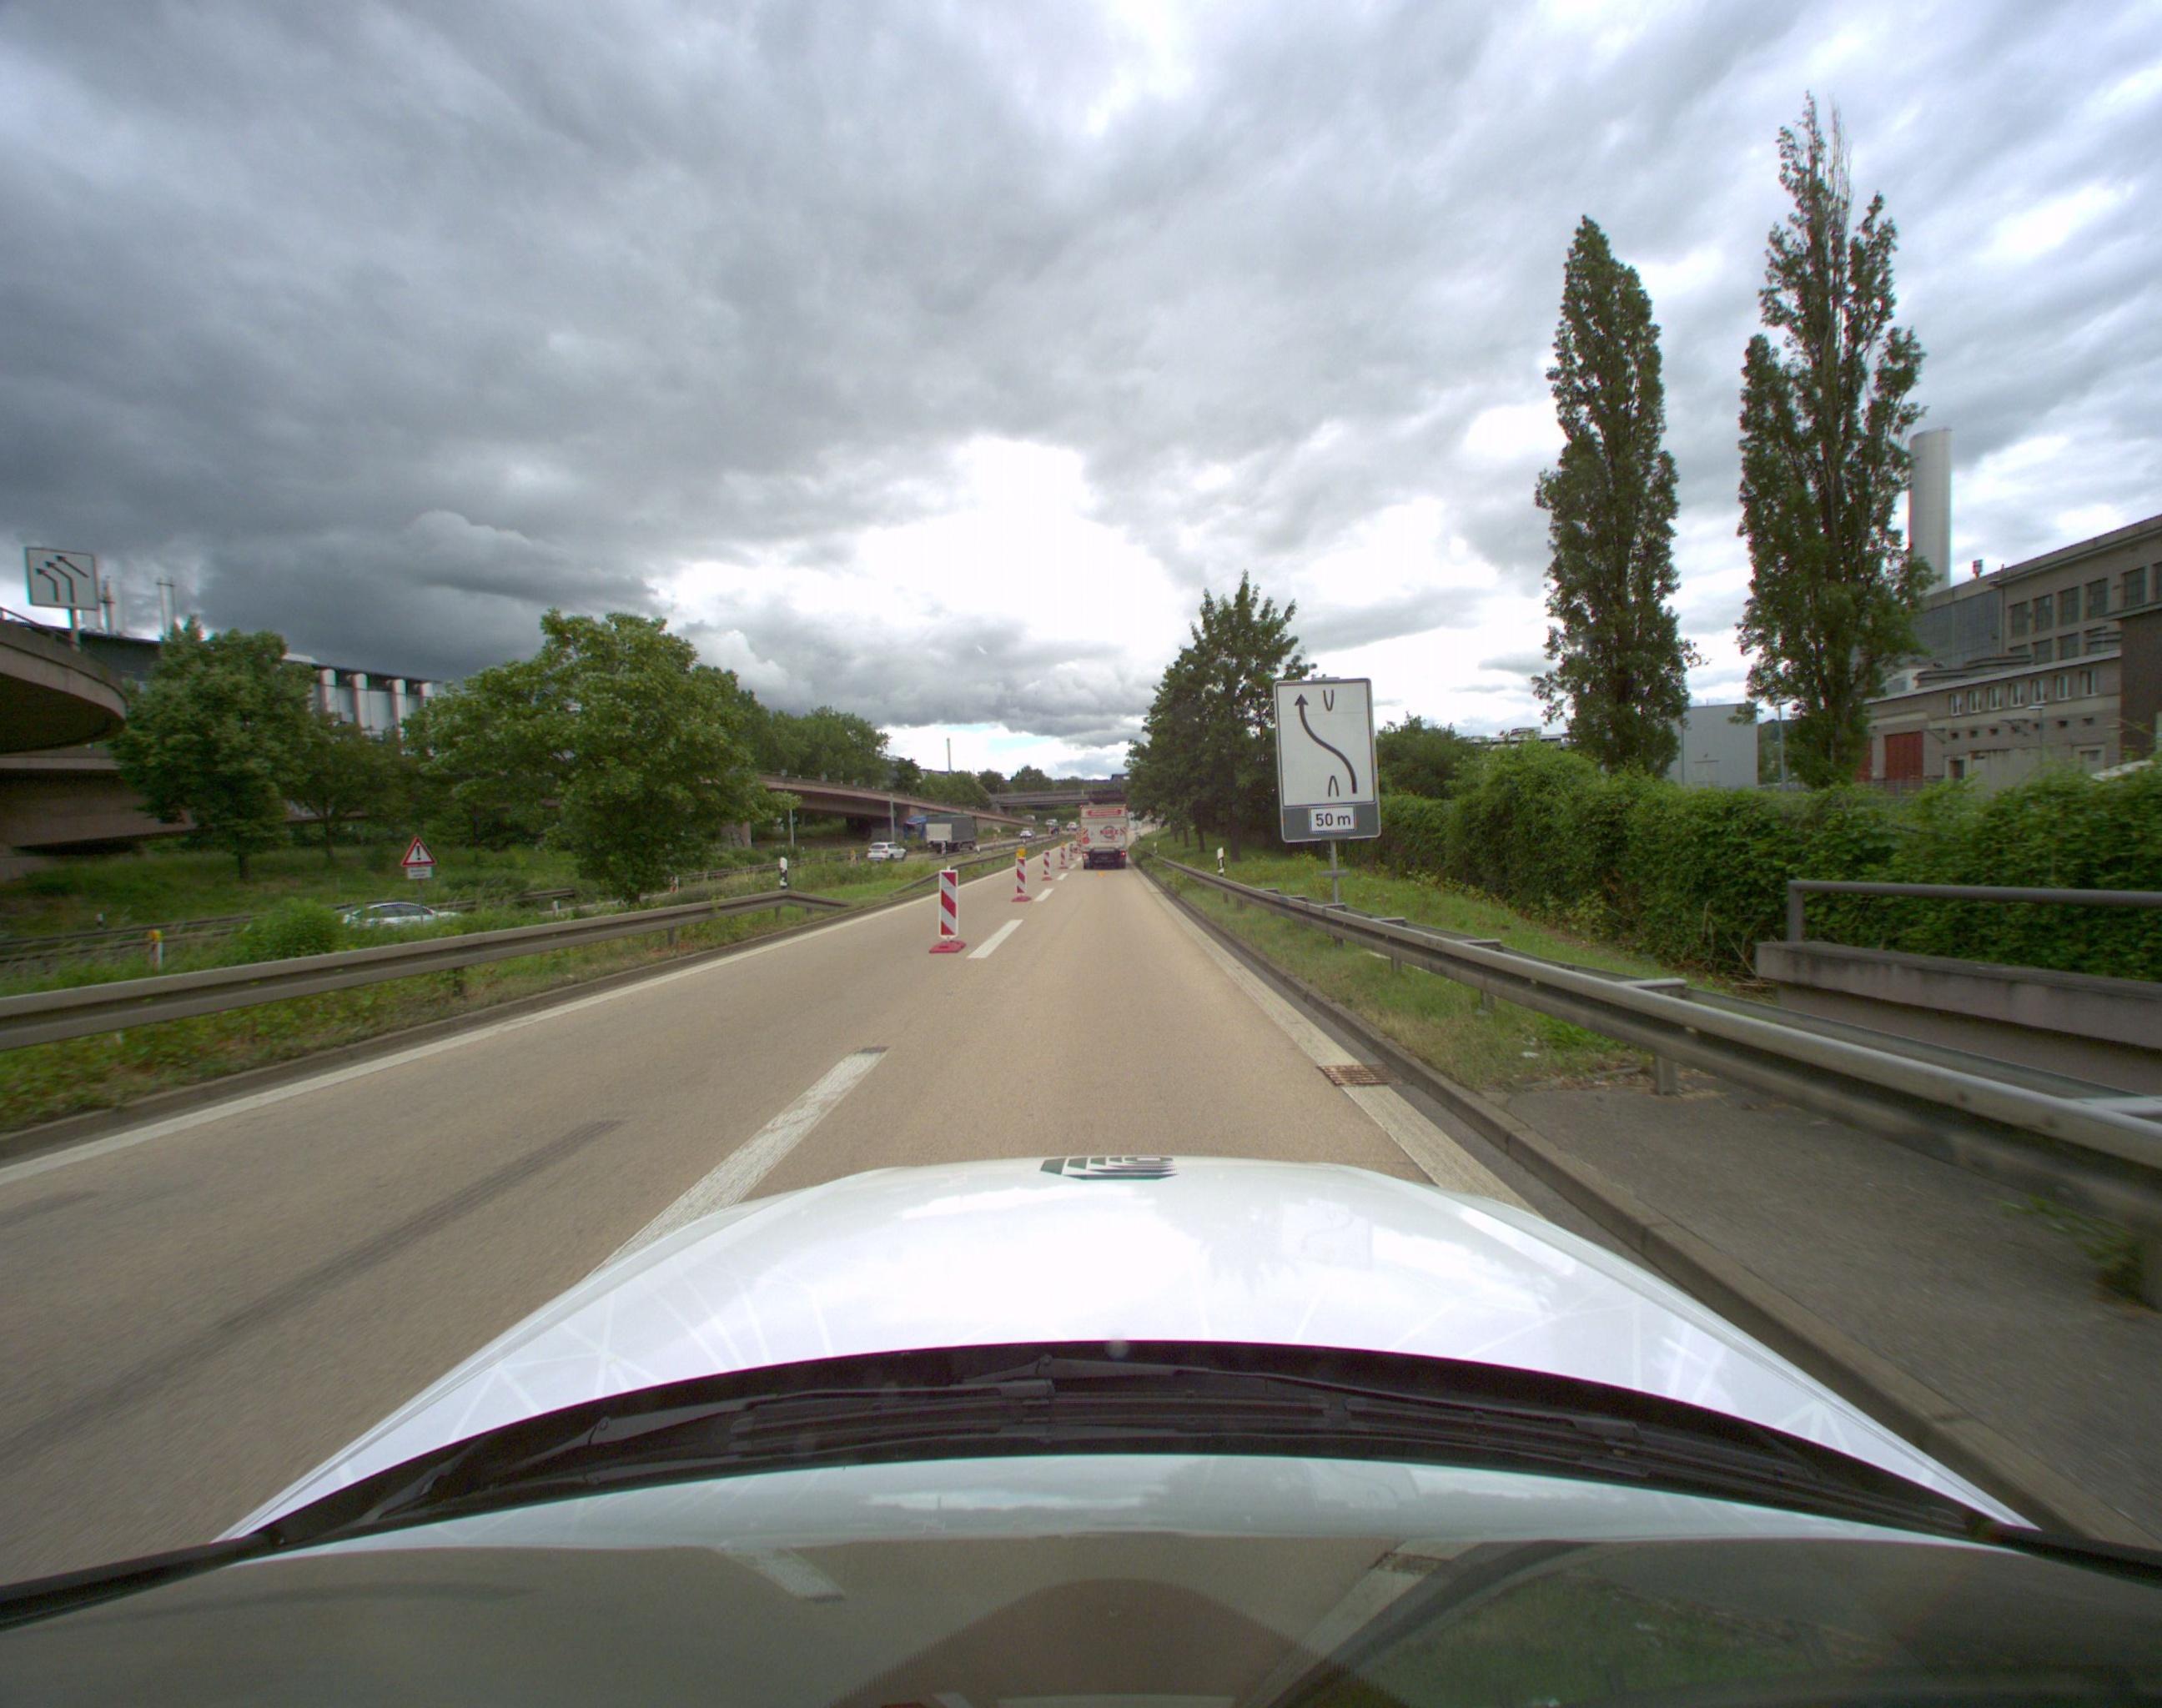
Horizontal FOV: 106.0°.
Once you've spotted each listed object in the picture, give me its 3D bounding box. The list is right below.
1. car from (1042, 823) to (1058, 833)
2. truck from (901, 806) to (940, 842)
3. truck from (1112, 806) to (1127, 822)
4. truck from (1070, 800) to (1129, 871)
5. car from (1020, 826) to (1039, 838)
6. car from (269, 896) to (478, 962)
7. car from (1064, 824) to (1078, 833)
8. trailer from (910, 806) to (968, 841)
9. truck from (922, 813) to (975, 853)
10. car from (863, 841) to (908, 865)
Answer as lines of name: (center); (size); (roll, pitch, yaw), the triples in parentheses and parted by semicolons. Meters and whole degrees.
car: (-4.917, -4.178, 130.646); (1.983, 1.617, 4.008); (-2, 2, 6)
truck: (-19.871, -3.719, 100.961); (2.735, 4.271, 5.520); (-1, 2, 10)
truck: (10.184, -10.435, 213.623); (3.269, 3.851, 7.680); (-2, 2, 7)
truck: (1.138, -1.072, 47.568); (3.039, 3.672, 7.932); (-2, 1, 2)
car: (-7.239, -3.130, 114.341); (1.983, 1.617, 4.008); (-2, 2, 6)
car: (-22.546, 2.335, 26.293); (1.981, 1.455, 4.817); (-1, 2, 11)
car: (-1.739, -4.595, 145.973); (1.983, 1.617, 4.008); (-2, 2, 6)
trailer: (-18.611, -4.046, 108.006); (2.754, 4.293, 14.021); (-1, 2, 10)
truck: (-12.913, -2.119, 80.341); (3.034, 3.655, 7.412); (-2, 2, 7)
car: (-15.664, -0.093, 65.433); (1.981, 1.712, 4.114); (-1, 2, 11)
